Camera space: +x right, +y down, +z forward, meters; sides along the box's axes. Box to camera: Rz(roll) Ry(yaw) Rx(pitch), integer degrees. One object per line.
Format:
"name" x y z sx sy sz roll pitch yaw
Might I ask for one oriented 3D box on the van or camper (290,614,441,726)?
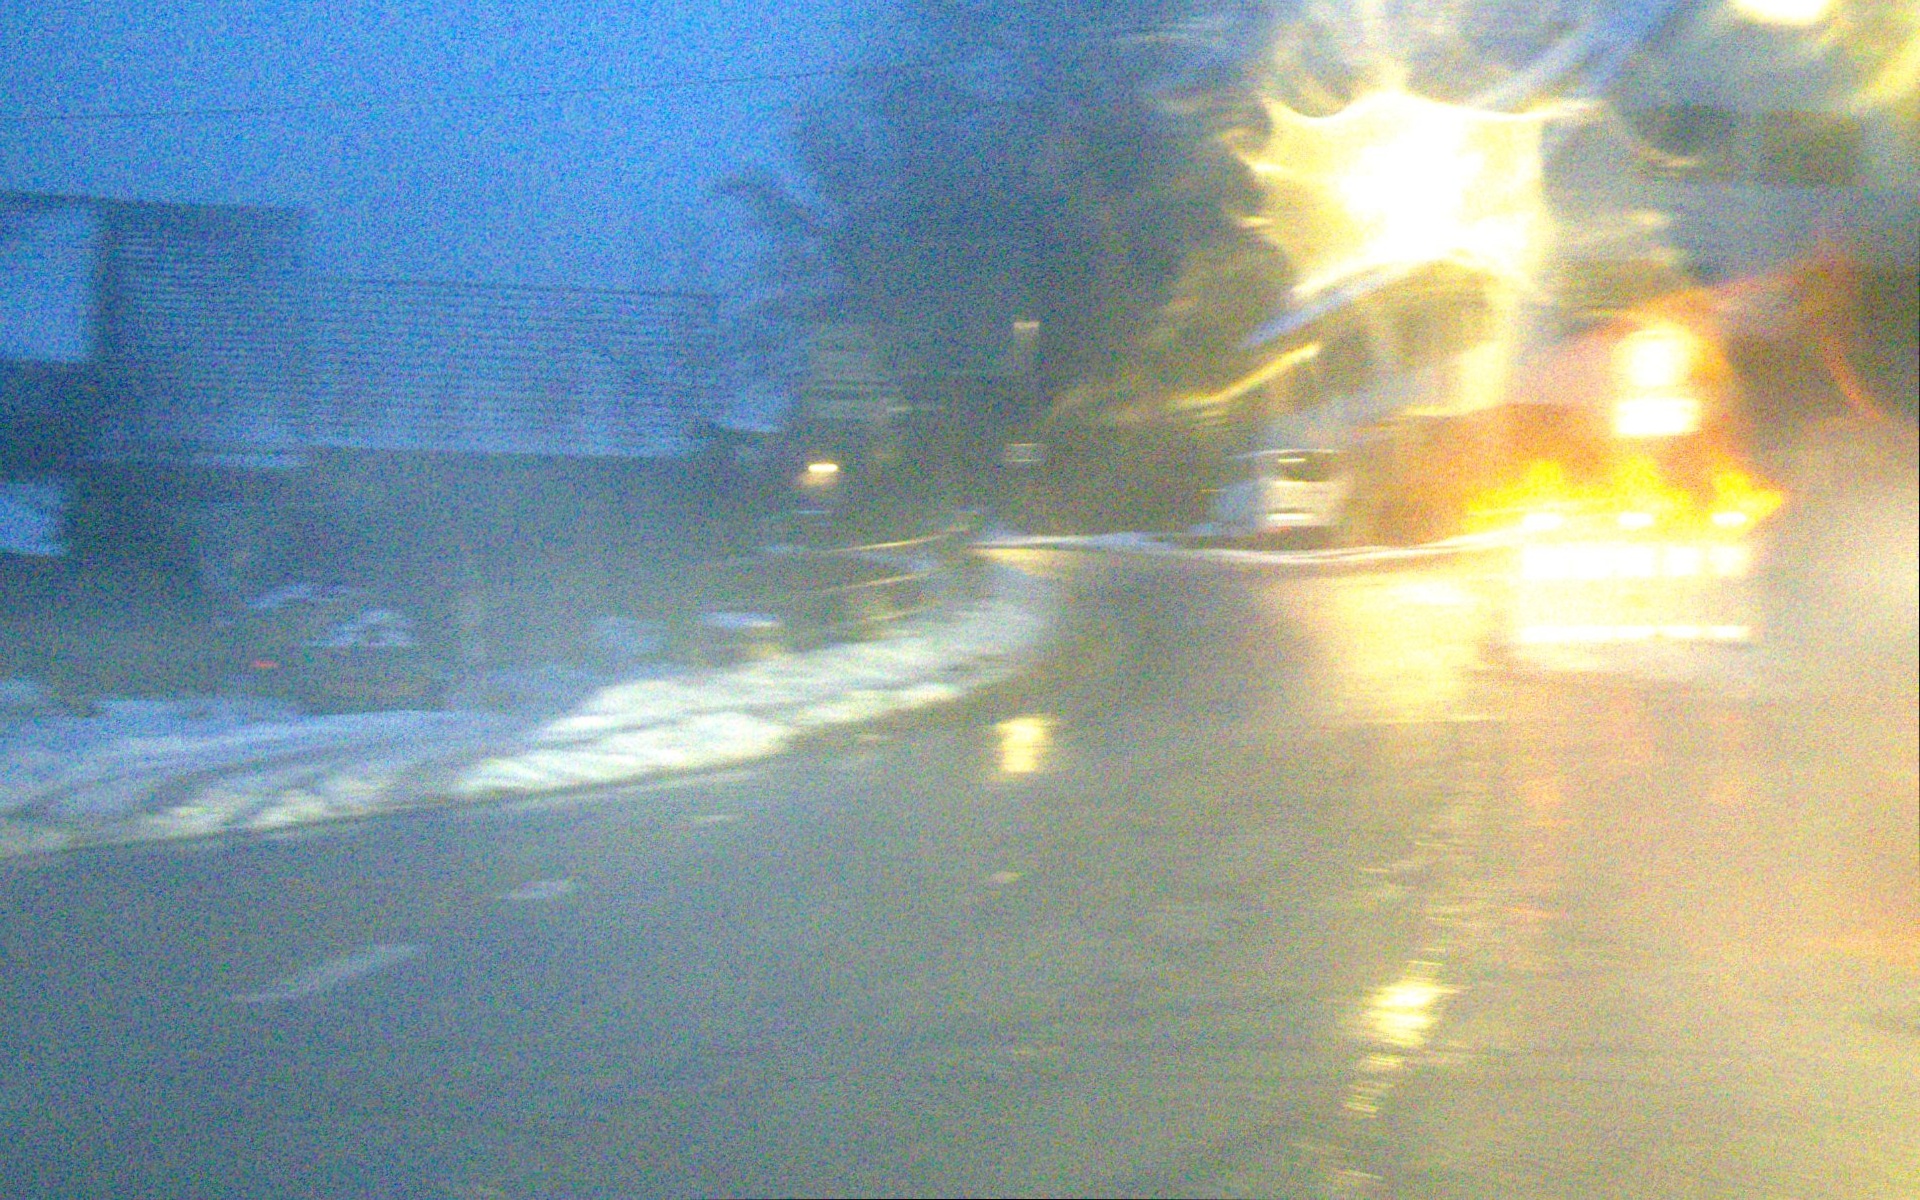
"van or camper" -6.268 0.750 36.075 1.282 1.098 3.273 1 -2 -14
